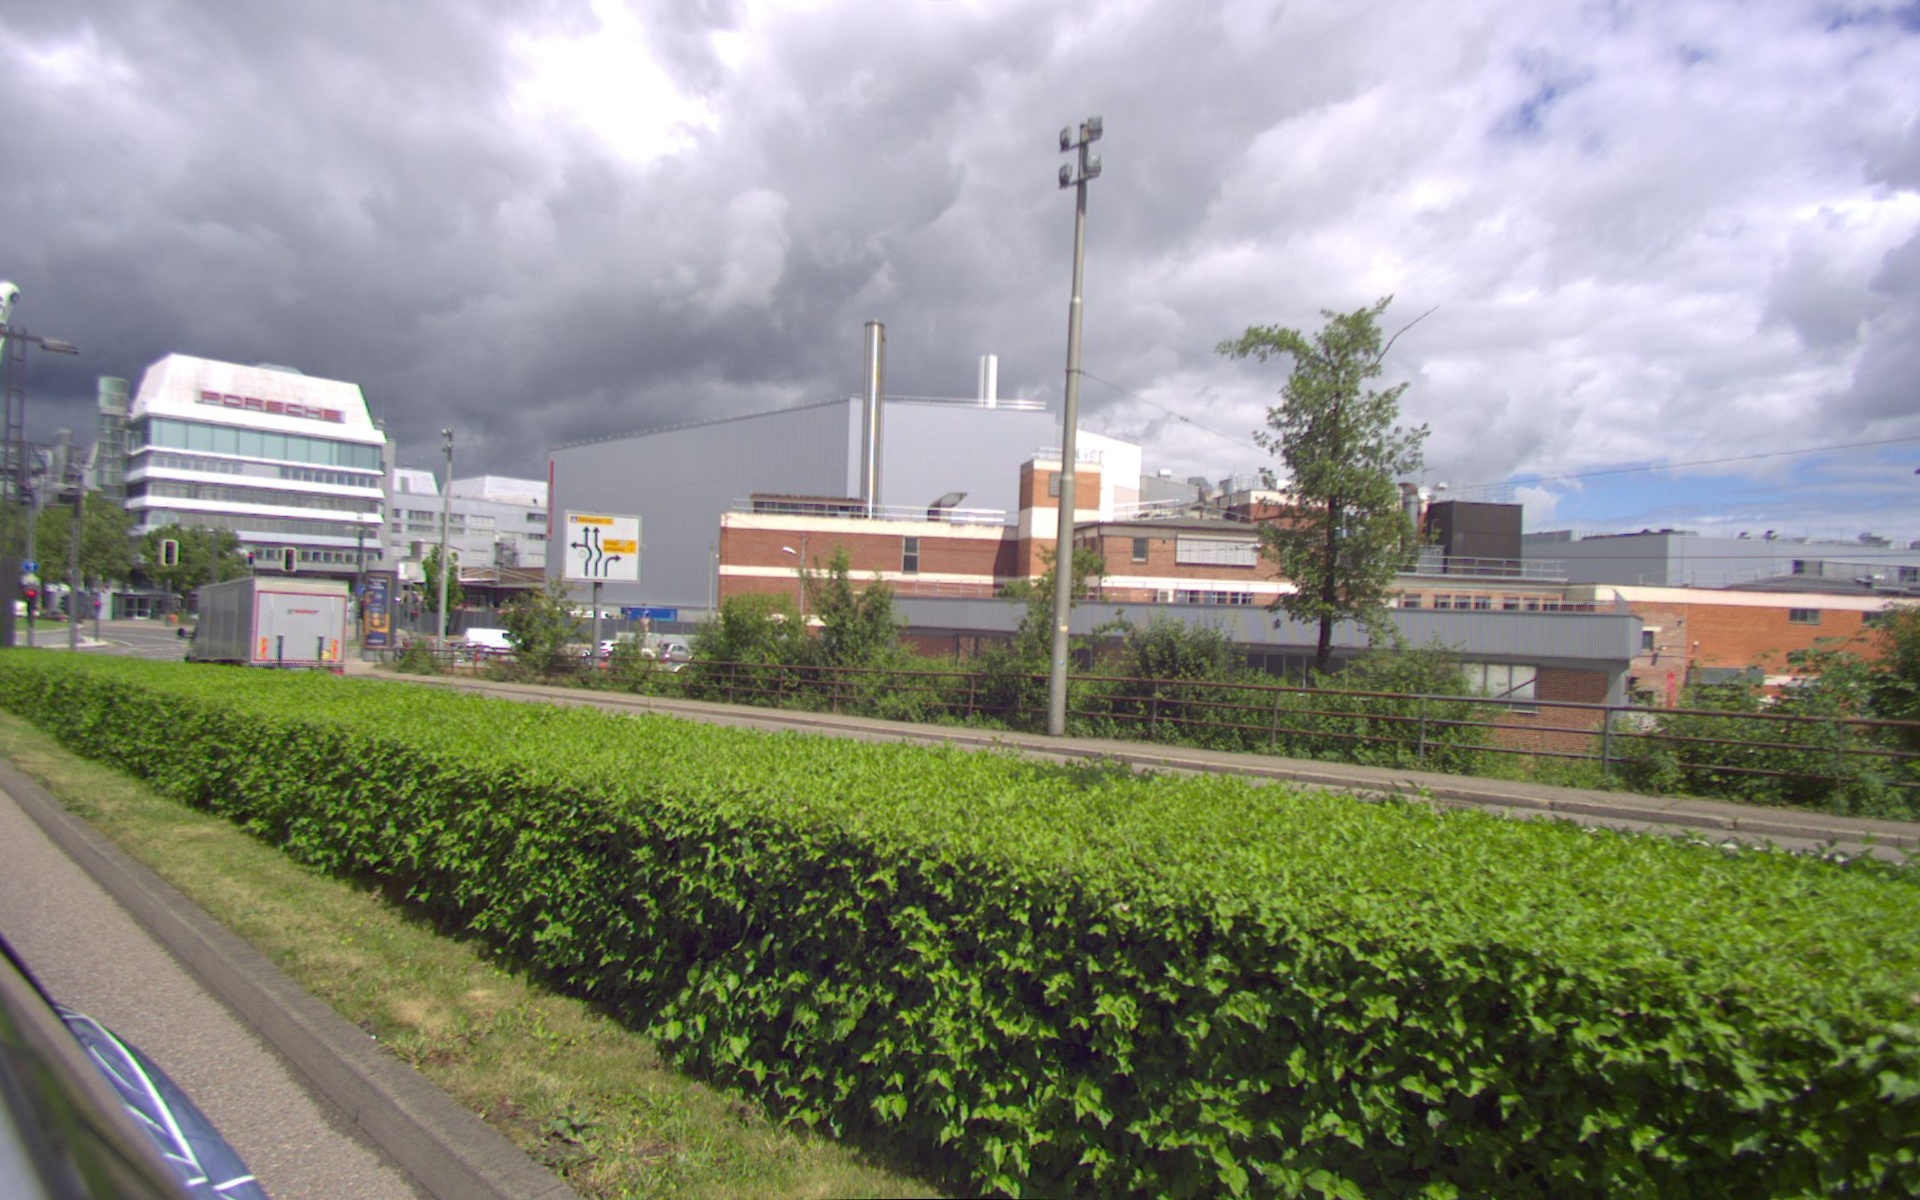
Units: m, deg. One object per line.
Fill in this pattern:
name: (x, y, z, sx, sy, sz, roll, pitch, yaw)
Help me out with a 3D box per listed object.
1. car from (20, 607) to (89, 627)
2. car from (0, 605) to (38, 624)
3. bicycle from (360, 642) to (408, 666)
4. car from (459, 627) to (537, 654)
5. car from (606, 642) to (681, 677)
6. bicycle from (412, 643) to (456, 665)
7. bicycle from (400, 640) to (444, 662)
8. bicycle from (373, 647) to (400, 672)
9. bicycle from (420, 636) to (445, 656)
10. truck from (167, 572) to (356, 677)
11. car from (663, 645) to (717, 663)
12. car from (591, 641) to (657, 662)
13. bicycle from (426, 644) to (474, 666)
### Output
car: (-78.900, 1.469, 88.220, 4.132, 1.708, 1.956, 1, -2, -5)
car: (-92.714, 1.401, 98.573, 4.351, 1.843, 1.994, 0, -2, 9)
bicycle: (-29.217, 2.708, 51.360, 2.012, 1.176, 0.622, 2, -2, -40)
car: (-33.360, 2.924, 73.080, 4.789, 1.837, 2.004, 2, -2, -38)
car: (-17.878, 3.327, 57.135, 3.931, 1.875, 1.757, 1, -2, -21)
bicycle: (-24.485, 2.520, 47.131, 0.616, 0.996, 1.939, -1, -2, 17)
bicycle: (-25.158, 2.375, 47.373, 0.616, 0.996, 1.939, -1, -2, 17)
bicycle: (-23.759, 2.437, 41.890, 0.513, 0.996, 1.952, 2, -3, -43)
bicycle: (-26.036, 2.274, 49.944, 1.950, 0.996, 0.513, -2, -3, 44)
truck: (-22.084, 0.915, 31.719, 9.374, 2.879, 2.825, -4, -4, 42)
car: (-19.966, 3.997, 74.809, 3.563, 1.251, 1.471, 2, -2, -41)
car: (-23.634, 3.619, 71.246, 4.123, 1.380, 1.623, 2, -2, -41)
bicycle: (-23.427, 2.519, 46.512, 0.619, 0.996, 1.928, -2, -3, 32)
